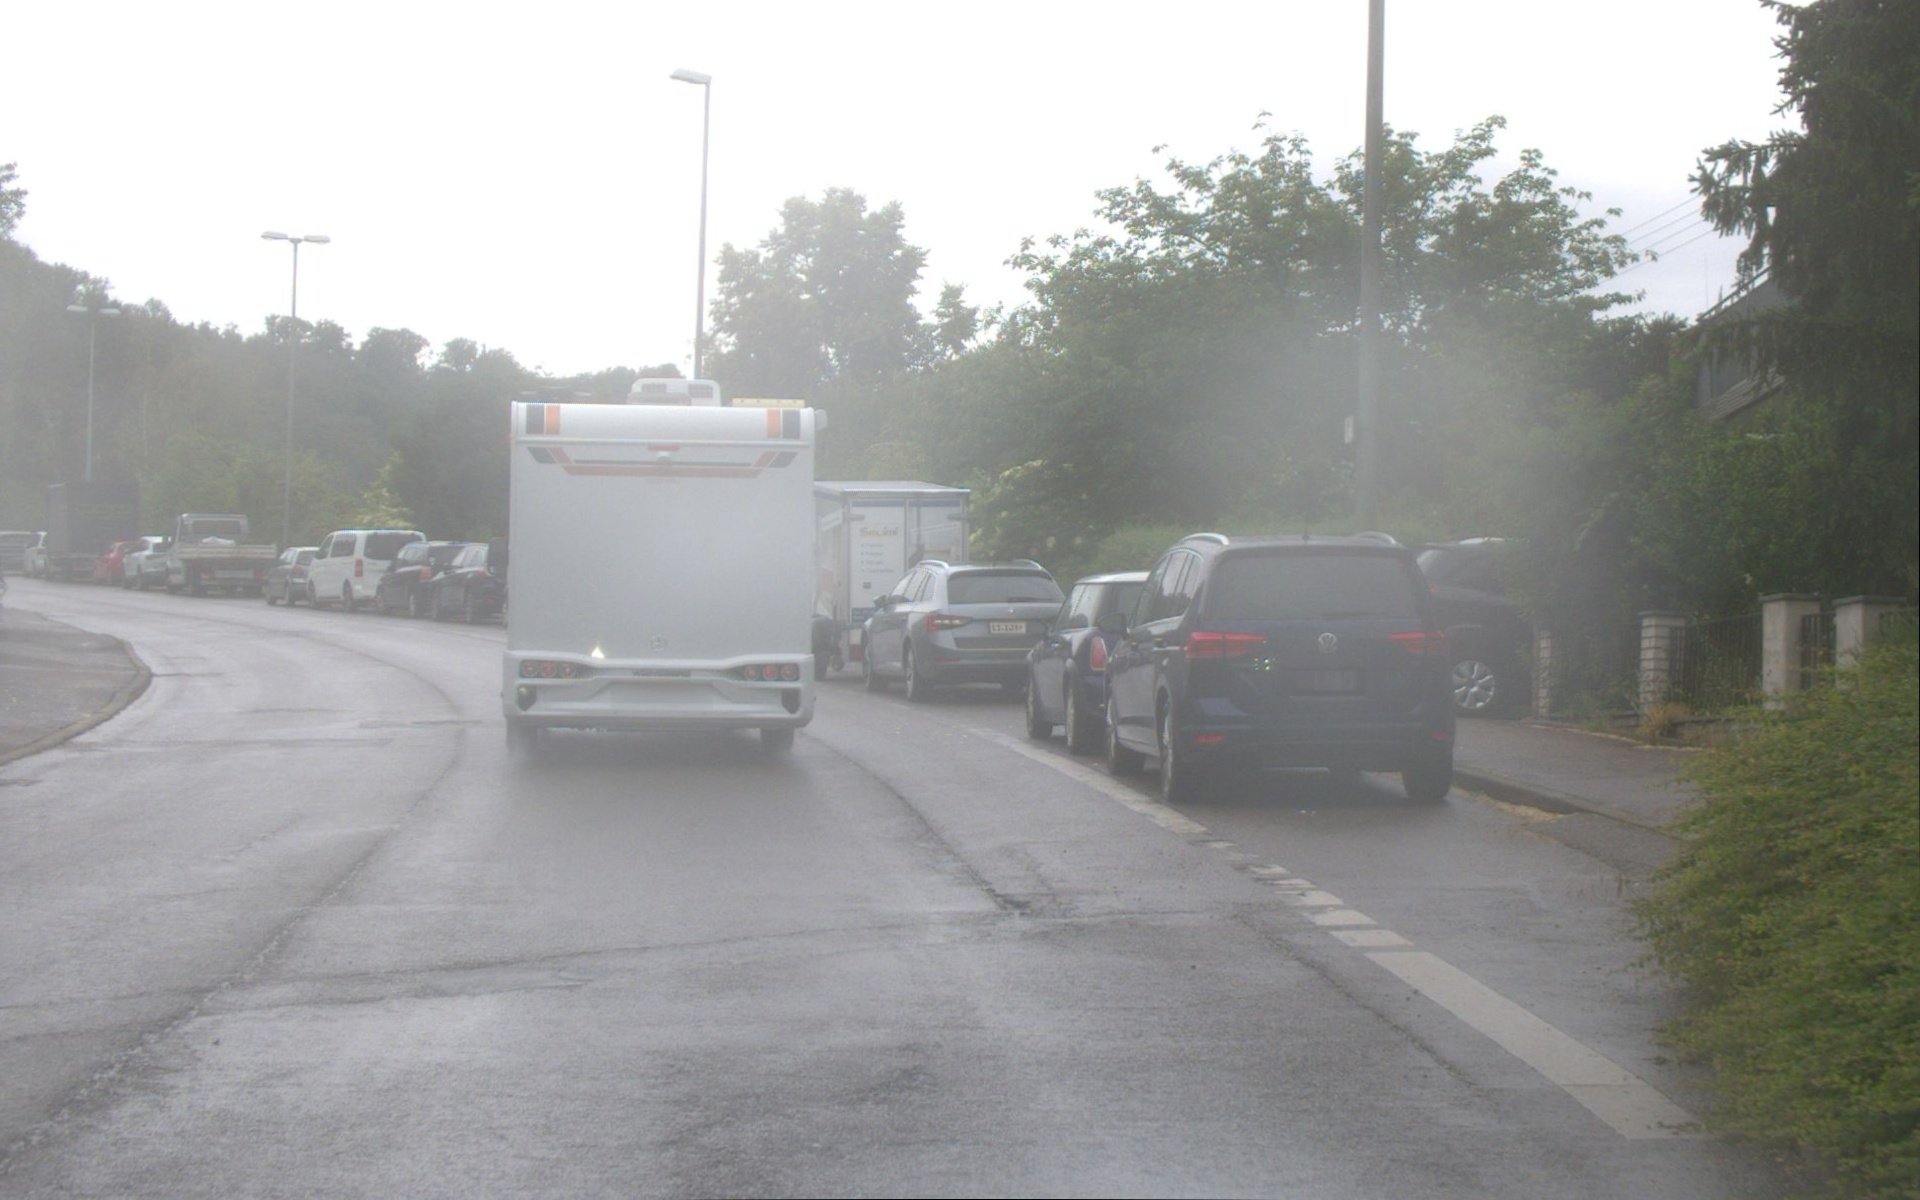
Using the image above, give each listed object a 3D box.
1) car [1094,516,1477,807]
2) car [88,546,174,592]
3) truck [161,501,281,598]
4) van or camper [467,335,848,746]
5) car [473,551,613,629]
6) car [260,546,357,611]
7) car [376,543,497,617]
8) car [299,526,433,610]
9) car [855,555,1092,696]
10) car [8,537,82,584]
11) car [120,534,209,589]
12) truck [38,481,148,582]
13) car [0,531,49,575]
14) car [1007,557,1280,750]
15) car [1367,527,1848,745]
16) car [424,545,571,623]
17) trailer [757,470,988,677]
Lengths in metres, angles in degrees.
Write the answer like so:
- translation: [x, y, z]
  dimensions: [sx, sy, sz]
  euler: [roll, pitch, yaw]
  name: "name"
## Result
- translation: [2.012, 0.345, 22.524]
  dimensions: [1.829, 1.695, 4.461]
  euler: [1, 0, -3]
  name: "car"
- translation: [-26.810, -1.024, 111.072]
  dimensions: [1.831, 1.433, 4.988]
  euler: [1, 0, -24]
  name: "car"
- translation: [-20.934, -1.428, 97.139]
  dimensions: [2.238, 2.622, 6.540]
  euler: [1, 0, -22]
  name: "truck"
- translation: [-2.529, -0.358, 27.688]
  dimensions: [2.615, 2.843, 6.032]
  euler: [2, -1, -7]
  name: "van or camper"
- translation: [-7.865, -0.207, 64.536]
  dimensions: [1.735, 1.409, 3.853]
  euler: [1, 0, -21]
  name: "car"
- translation: [-16.181, -0.551, 85.258]
  dimensions: [1.647, 1.558, 3.964]
  euler: [1, 0, -21]
  name: "car"
- translation: [-11.424, -0.446, 74.811]
  dimensions: [1.644, 1.535, 4.355]
  euler: [1, 0, -22]
  name: "car"
- translation: [-13.909, -0.751, 80.279]
  dimensions: [1.848, 1.875, 4.912]
  euler: [1, 0, -25]
  name: "car"
- translation: [0.069, 0.243, 37.376]
  dimensions: [1.747, 1.419, 4.705]
  euler: [1, 0, -10]
  name: "car"
- translation: [-33.499, -1.444, 125.832]
  dimensions: [1.845, 1.678, 5.640]
  euler: [1, 0, -23]
  name: "car"
- translation: [-23.933, -1.162, 103.330]
  dimensions: [1.759, 1.599, 4.668]
  euler: [1, 0, -23]
  name: "car"
- translation: [-29.716, -2.316, 117.629]
  dimensions: [2.435, 3.324, 7.967]
  euler: [1, 0, -23]
  name: "truck"
- translation: [-36.410, -1.832, 132.639]
  dimensions: [1.936, 1.666, 4.696]
  euler: [1, 1, -21]
  name: "car"
- translation: [1.424, 0.391, 27.965]
  dimensions: [1.633, 1.452, 3.701]
  euler: [1, 0, -6]
  name: "car"
- translation: [6.036, 0.322, 32.338]
  dimensions: [4.003, 1.682, 1.778]
  euler: [5, 0, -4]
  name: "car"
- translation: [-9.377, -0.338, 69.402]
  dimensions: [1.815, 1.501, 4.725]
  euler: [1, 0, -22]
  name: "car"
- translation: [-1.196, -0.340, 43.602]
  dimensions: [1.948, 2.448, 5.436]
  euler: [1, 0, -12]
  name: "trailer"
